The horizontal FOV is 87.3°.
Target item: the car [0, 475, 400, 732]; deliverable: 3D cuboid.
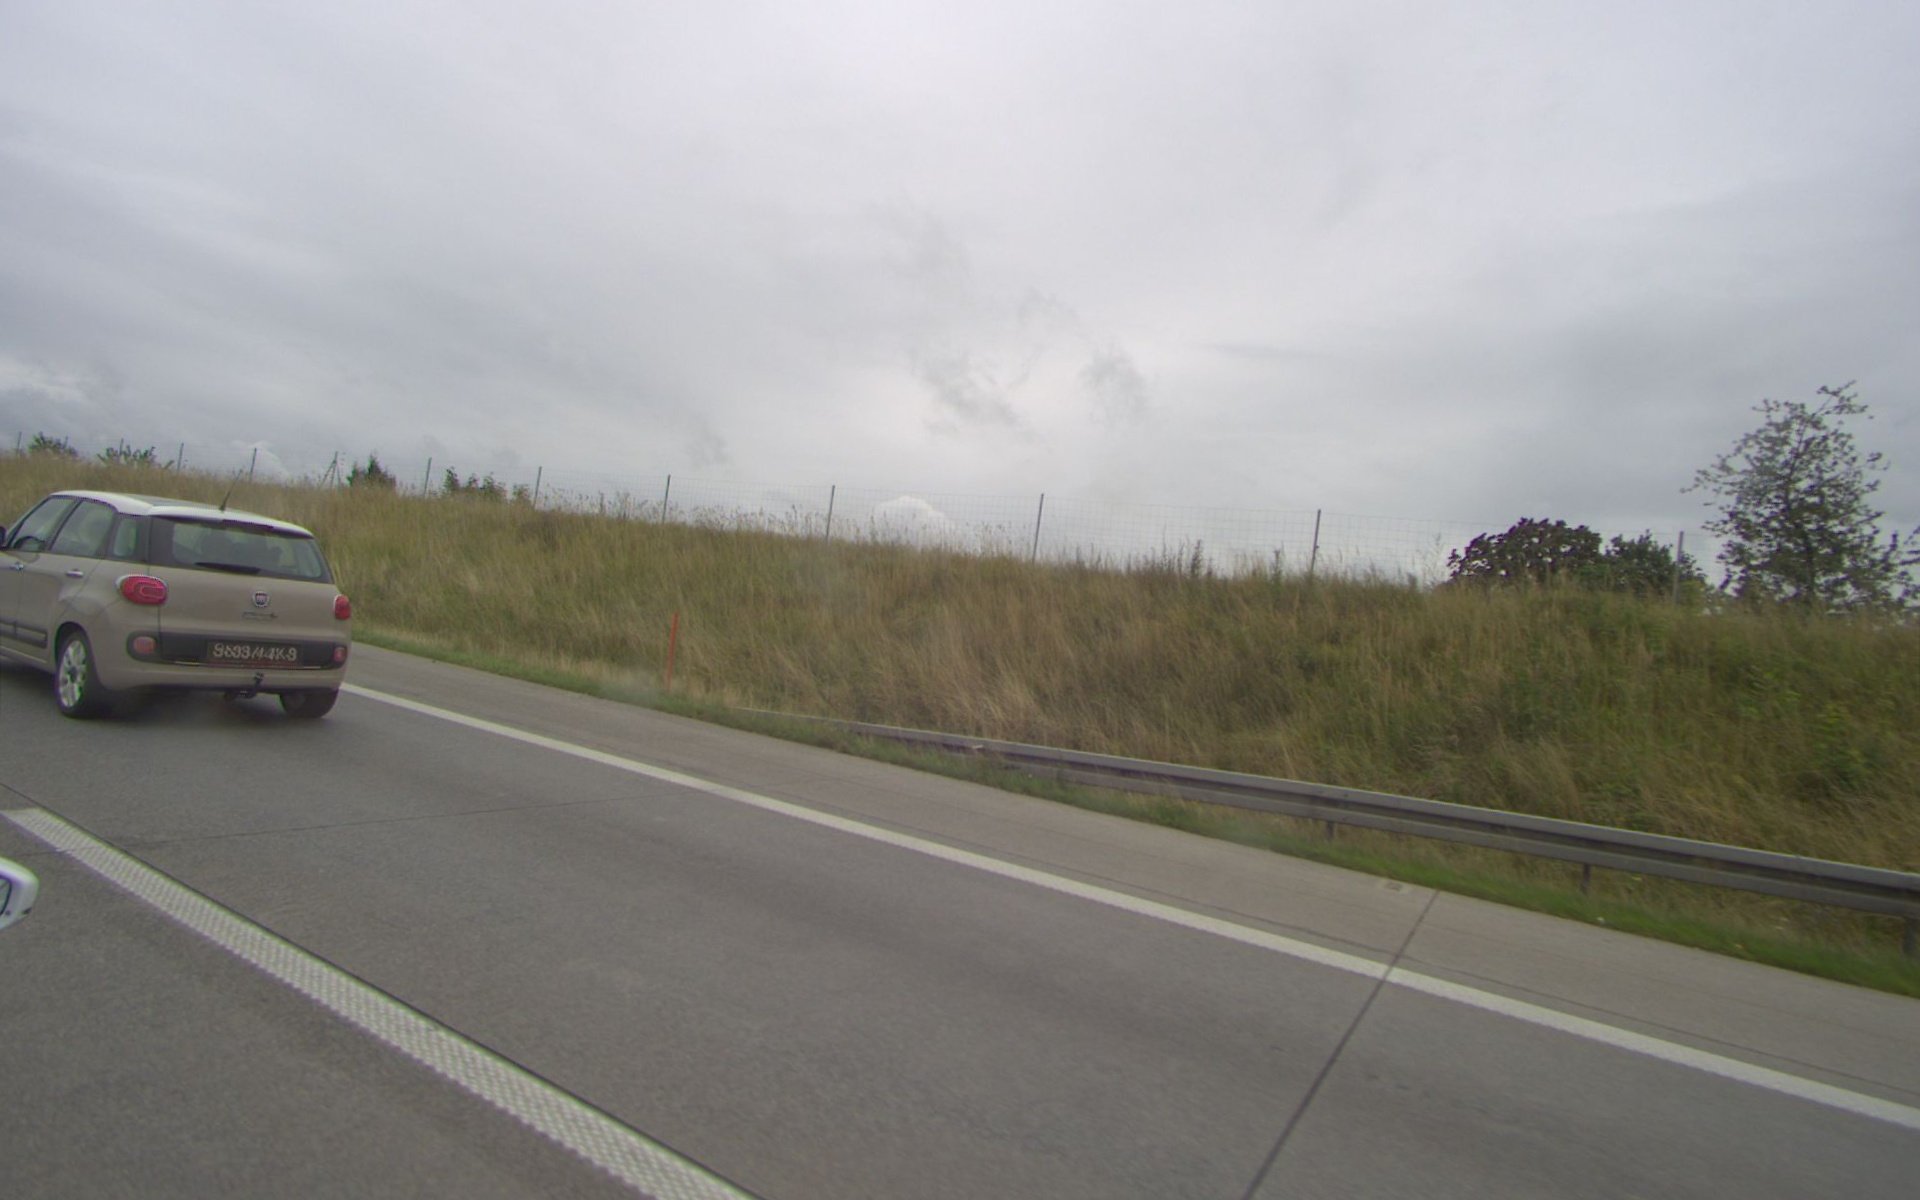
[{"bbox_3d":[-7.025,-0.068,8.606,4.494,1.623,1.789,7,-2,31],"label":"car"}]
